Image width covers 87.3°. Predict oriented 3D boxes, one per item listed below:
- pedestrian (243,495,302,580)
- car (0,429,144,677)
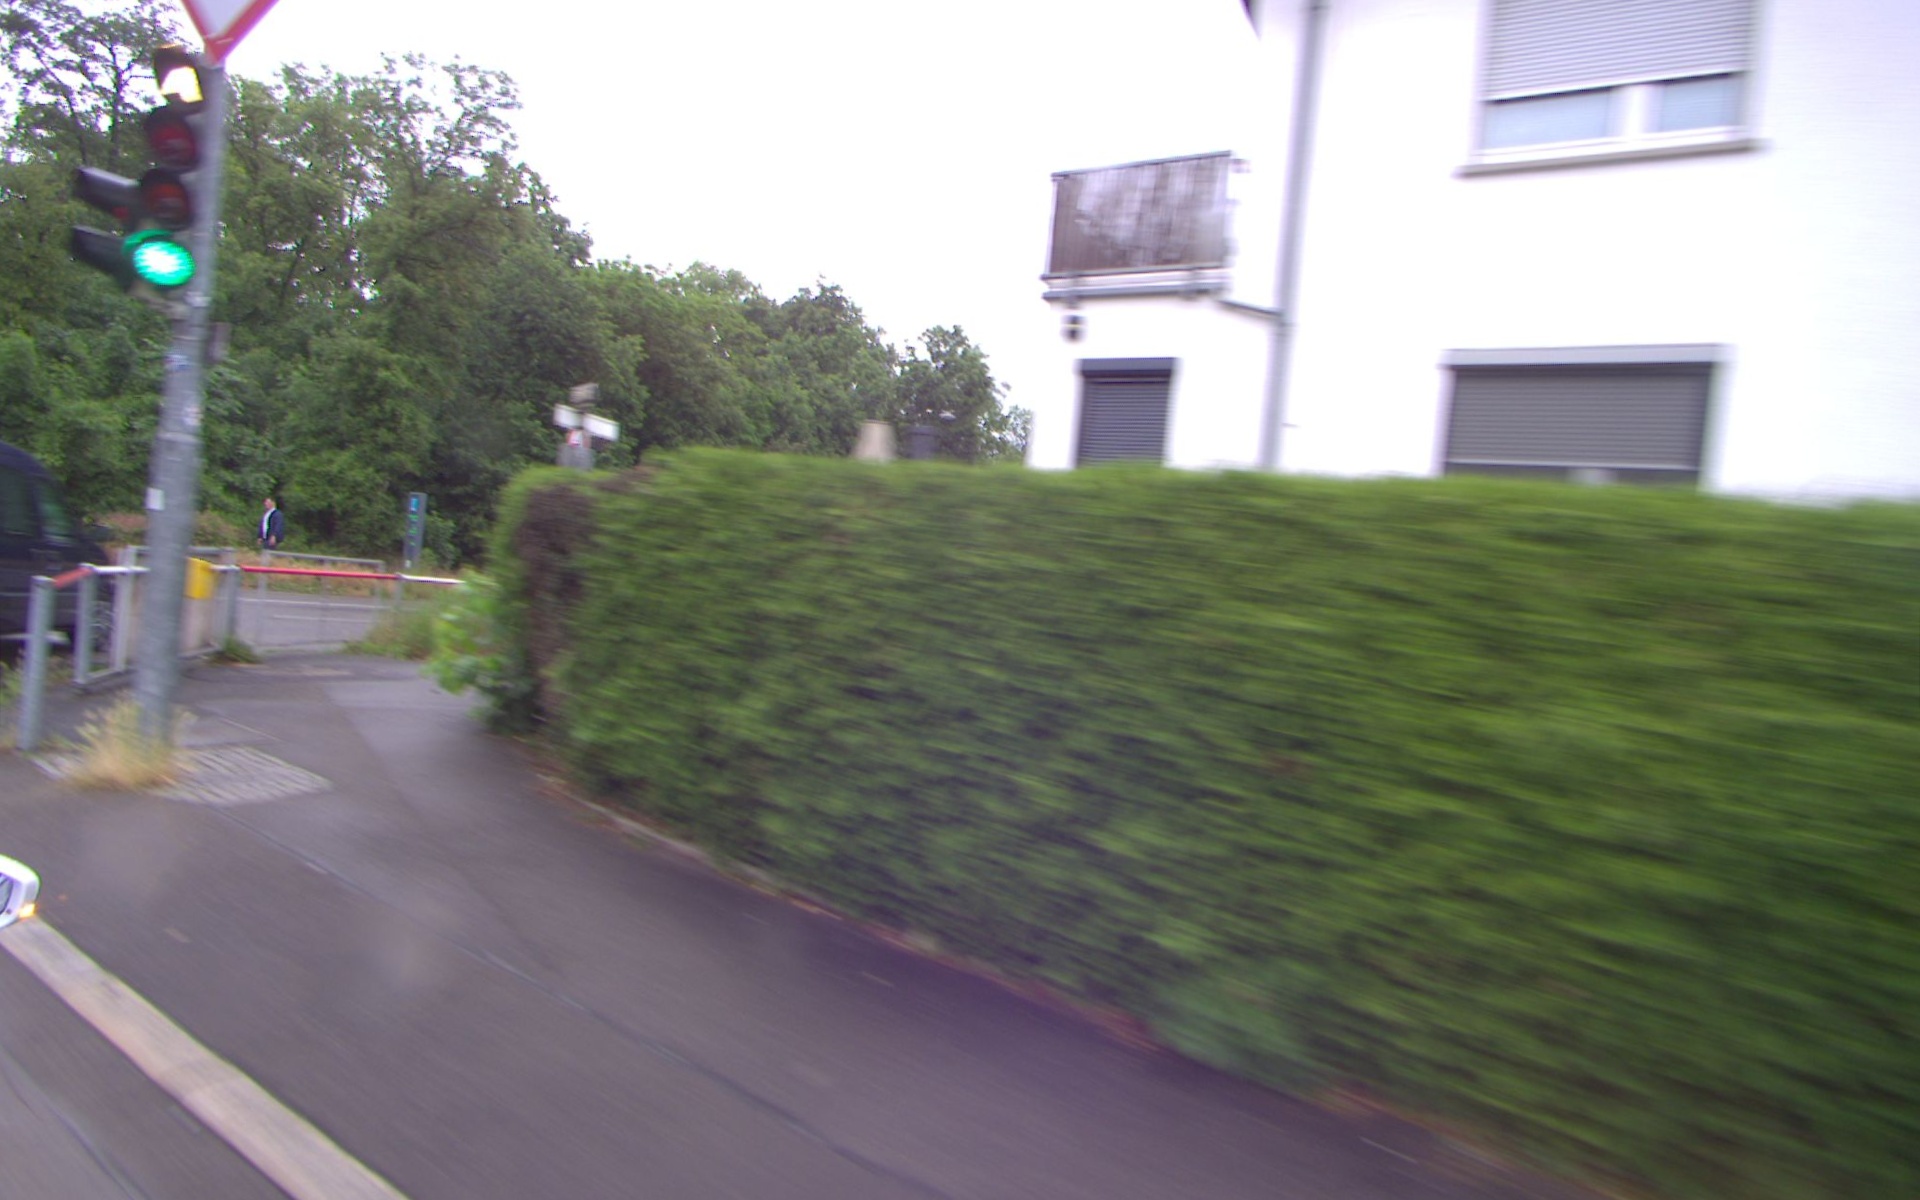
[{"bbox_3d":[-15.967,-1.445,23.369,0.766,1.822,0.762,7,1,32],"label":"pedestrian"},{"bbox_3d":[-8.274,-0.463,7.948,1.792,1.820,3.975,6,0,-25],"label":"car"}]
